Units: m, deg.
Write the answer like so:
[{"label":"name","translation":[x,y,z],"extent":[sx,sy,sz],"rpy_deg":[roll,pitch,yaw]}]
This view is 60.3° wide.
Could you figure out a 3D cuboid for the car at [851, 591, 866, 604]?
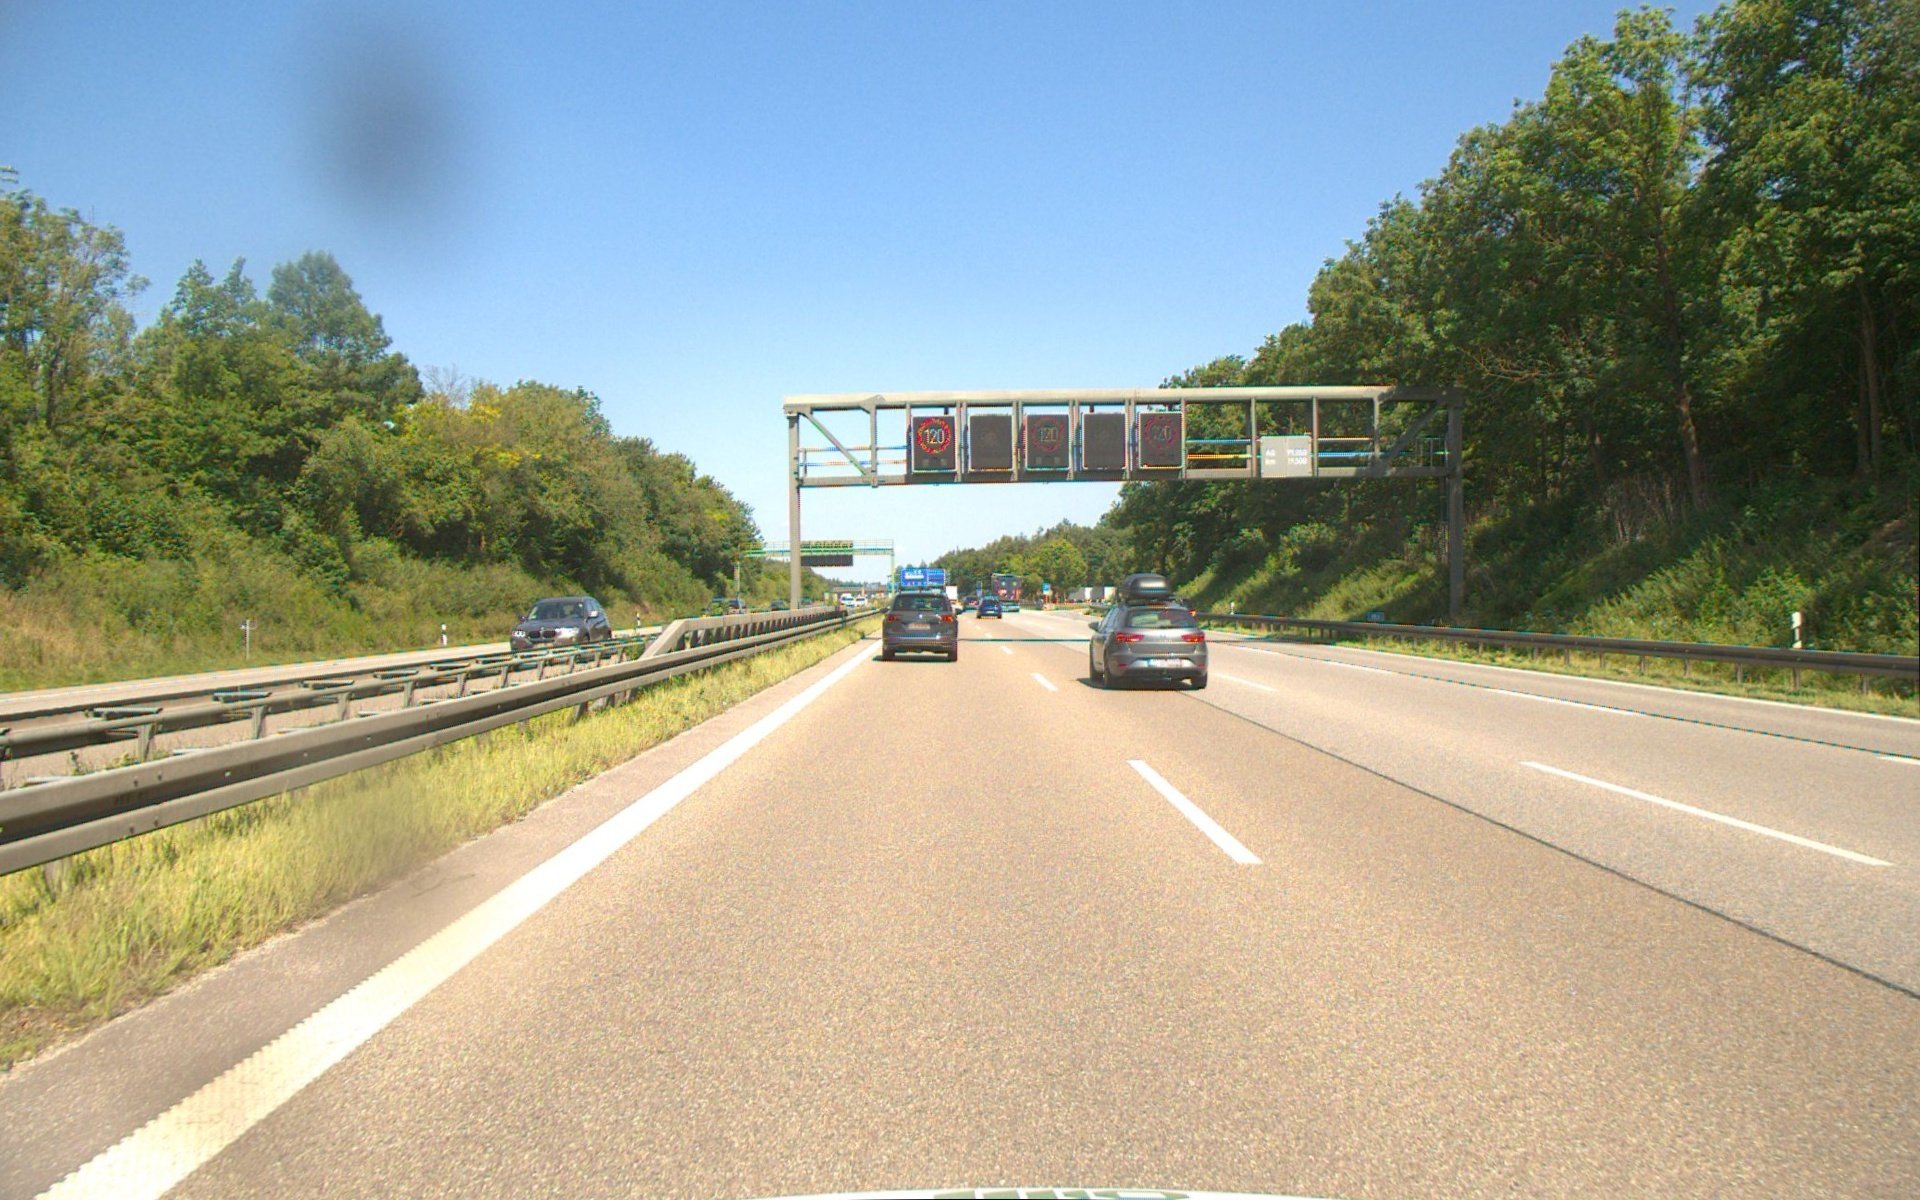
[{"label":"car","translation":[-14.112,-0.344,229.882],"extent":[1.775,1.645,3.913],"rpy_deg":[-3,0,0]}]

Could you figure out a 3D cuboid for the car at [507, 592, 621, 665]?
[{"label":"car","translation":[-10.100,0.670,42.517],"extent":[1.770,1.670,4.799],"rpy_deg":[-3,0,-1]}]

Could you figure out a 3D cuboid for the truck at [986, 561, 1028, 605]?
[{"label":"truck","translation":[5.014,-1.790,178.877],"extent":[3.704,4.499,14.046],"rpy_deg":[0,0,-2]}]

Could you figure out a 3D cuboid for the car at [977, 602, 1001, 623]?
[{"label":"car","translation":[2.087,0.902,119.037],"extent":[1.728,1.406,4.259],"rpy_deg":[1,0,1]}]

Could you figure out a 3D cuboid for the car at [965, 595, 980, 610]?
[{"label":"car","translation":[1.319,0.254,173.091],"extent":[1.441,1.422,3.409],"rpy_deg":[2,0,-2]}]

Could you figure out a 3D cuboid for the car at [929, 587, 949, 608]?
[{"label":"car","translation":[-2.085,-0.258,164.965],"extent":[1.953,2.049,3.999],"rpy_deg":[0,0,-1]}]

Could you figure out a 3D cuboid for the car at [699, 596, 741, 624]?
[{"label":"car","translation":[-11.172,0.451,77.066],"extent":[1.449,1.231,3.457],"rpy_deg":[-1,0,-1]}]

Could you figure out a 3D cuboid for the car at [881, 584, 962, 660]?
[{"label":"car","translation":[-0.880,0.491,39.915],"extent":[1.762,1.698,4.259],"rpy_deg":[1,0,1]}]

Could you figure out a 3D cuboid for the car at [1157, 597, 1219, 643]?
[{"label":"car","translation":[8.325,0.707,60.678],"extent":[1.728,1.595,4.259],"rpy_deg":[1,0,1]}]

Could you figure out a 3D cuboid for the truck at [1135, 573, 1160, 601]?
[{"label":"truck","translation":[28.702,-1.979,252.686],"extent":[3.215,4.016,9.359],"rpy_deg":[-1,0,9]}]

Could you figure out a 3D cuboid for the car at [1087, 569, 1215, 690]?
[{"label":"car","translation":[3.270,0.465,29.094],"extent":[1.631,1.909,4.827],"rpy_deg":[-2,0,0]}]
